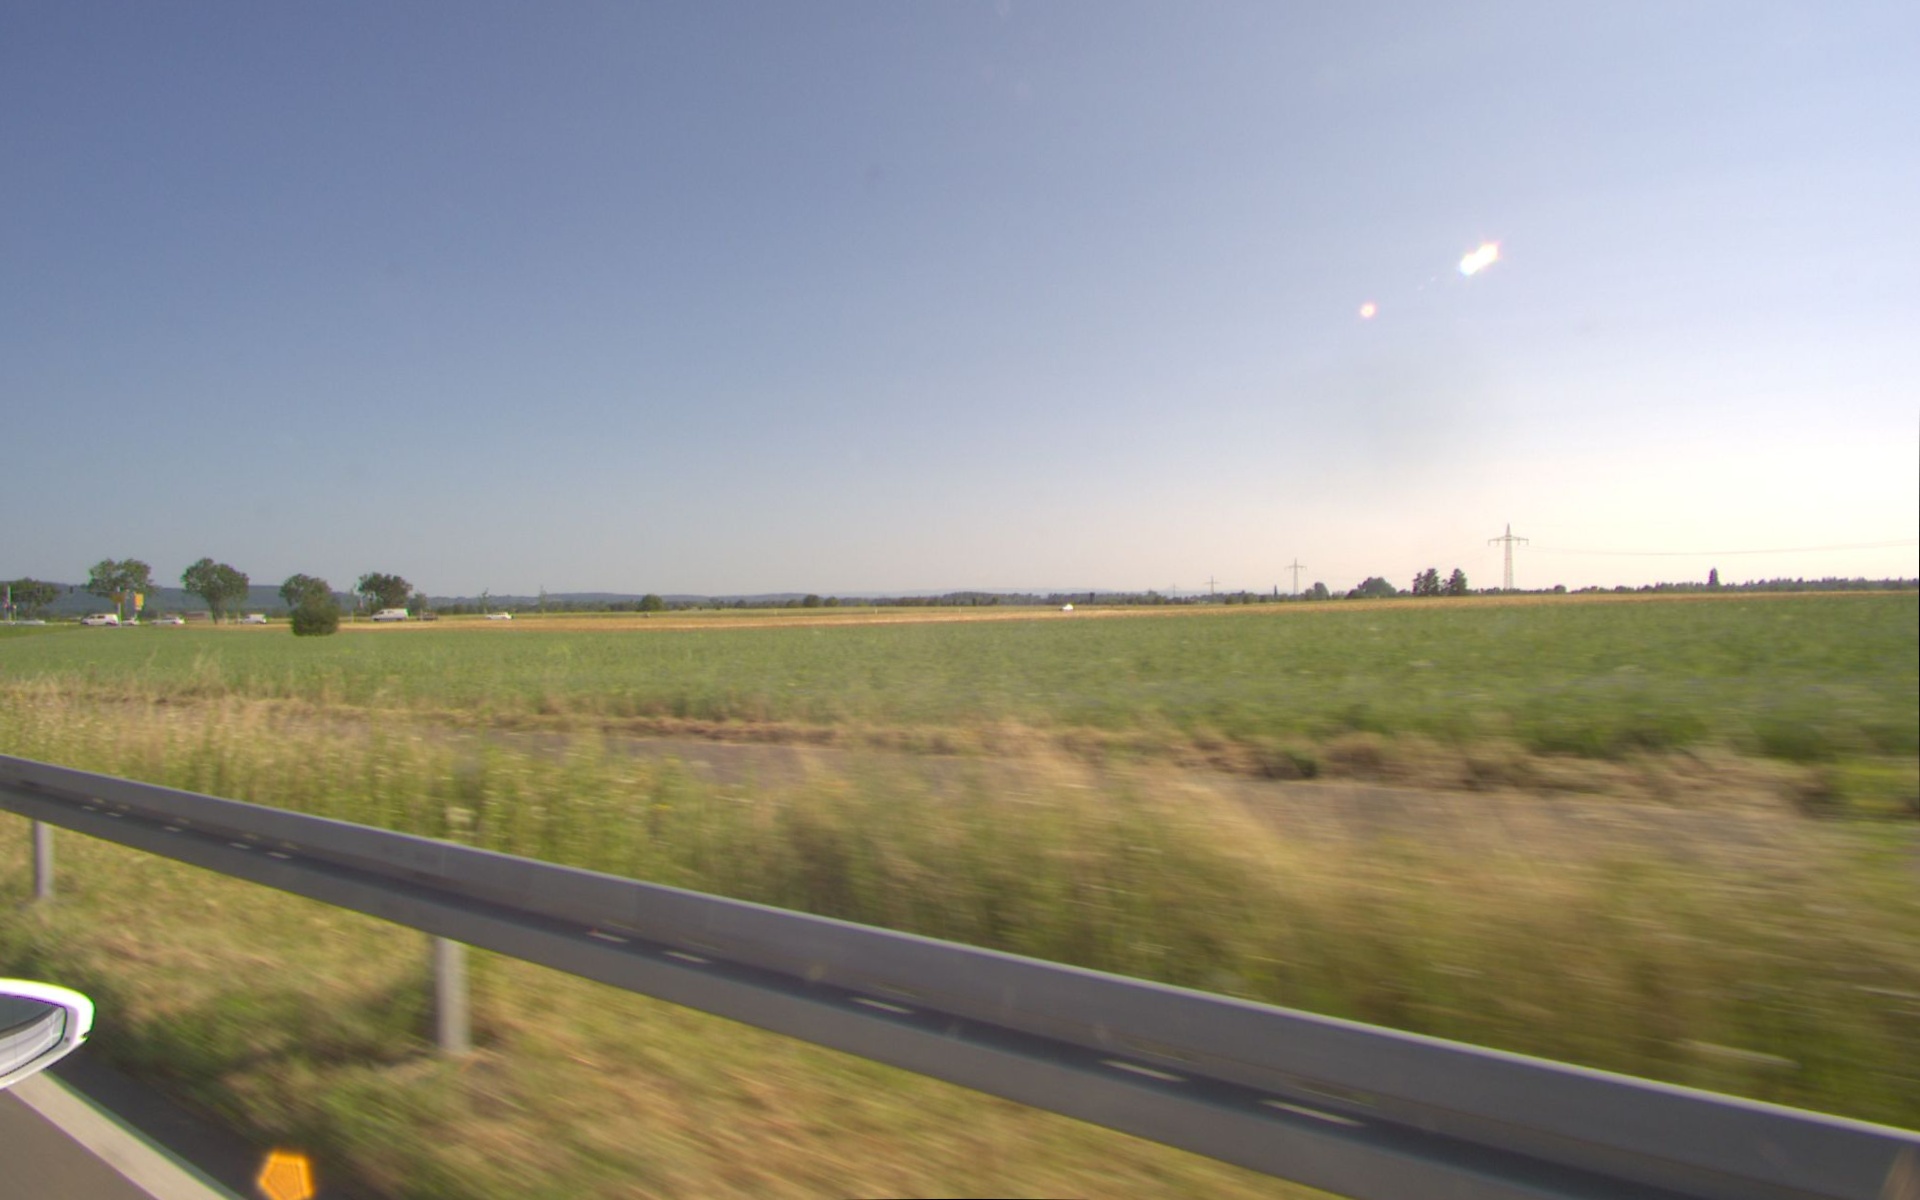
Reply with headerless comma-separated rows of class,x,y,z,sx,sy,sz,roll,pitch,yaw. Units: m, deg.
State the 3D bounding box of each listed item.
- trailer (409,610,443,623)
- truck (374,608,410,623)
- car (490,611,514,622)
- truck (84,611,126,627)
trailer,-98.939,3.069,185.515,5.376,2.383,3.344,1,-2,-25
truck,-103.903,2.856,183.181,5.511,2.729,3.283,1,-2,-25
car,-86.623,3.155,189.315,3.932,2.040,1.995,-1,0,-21
truck,-142.932,3.138,167.523,4.991,2.561,1.992,1,-2,-28
